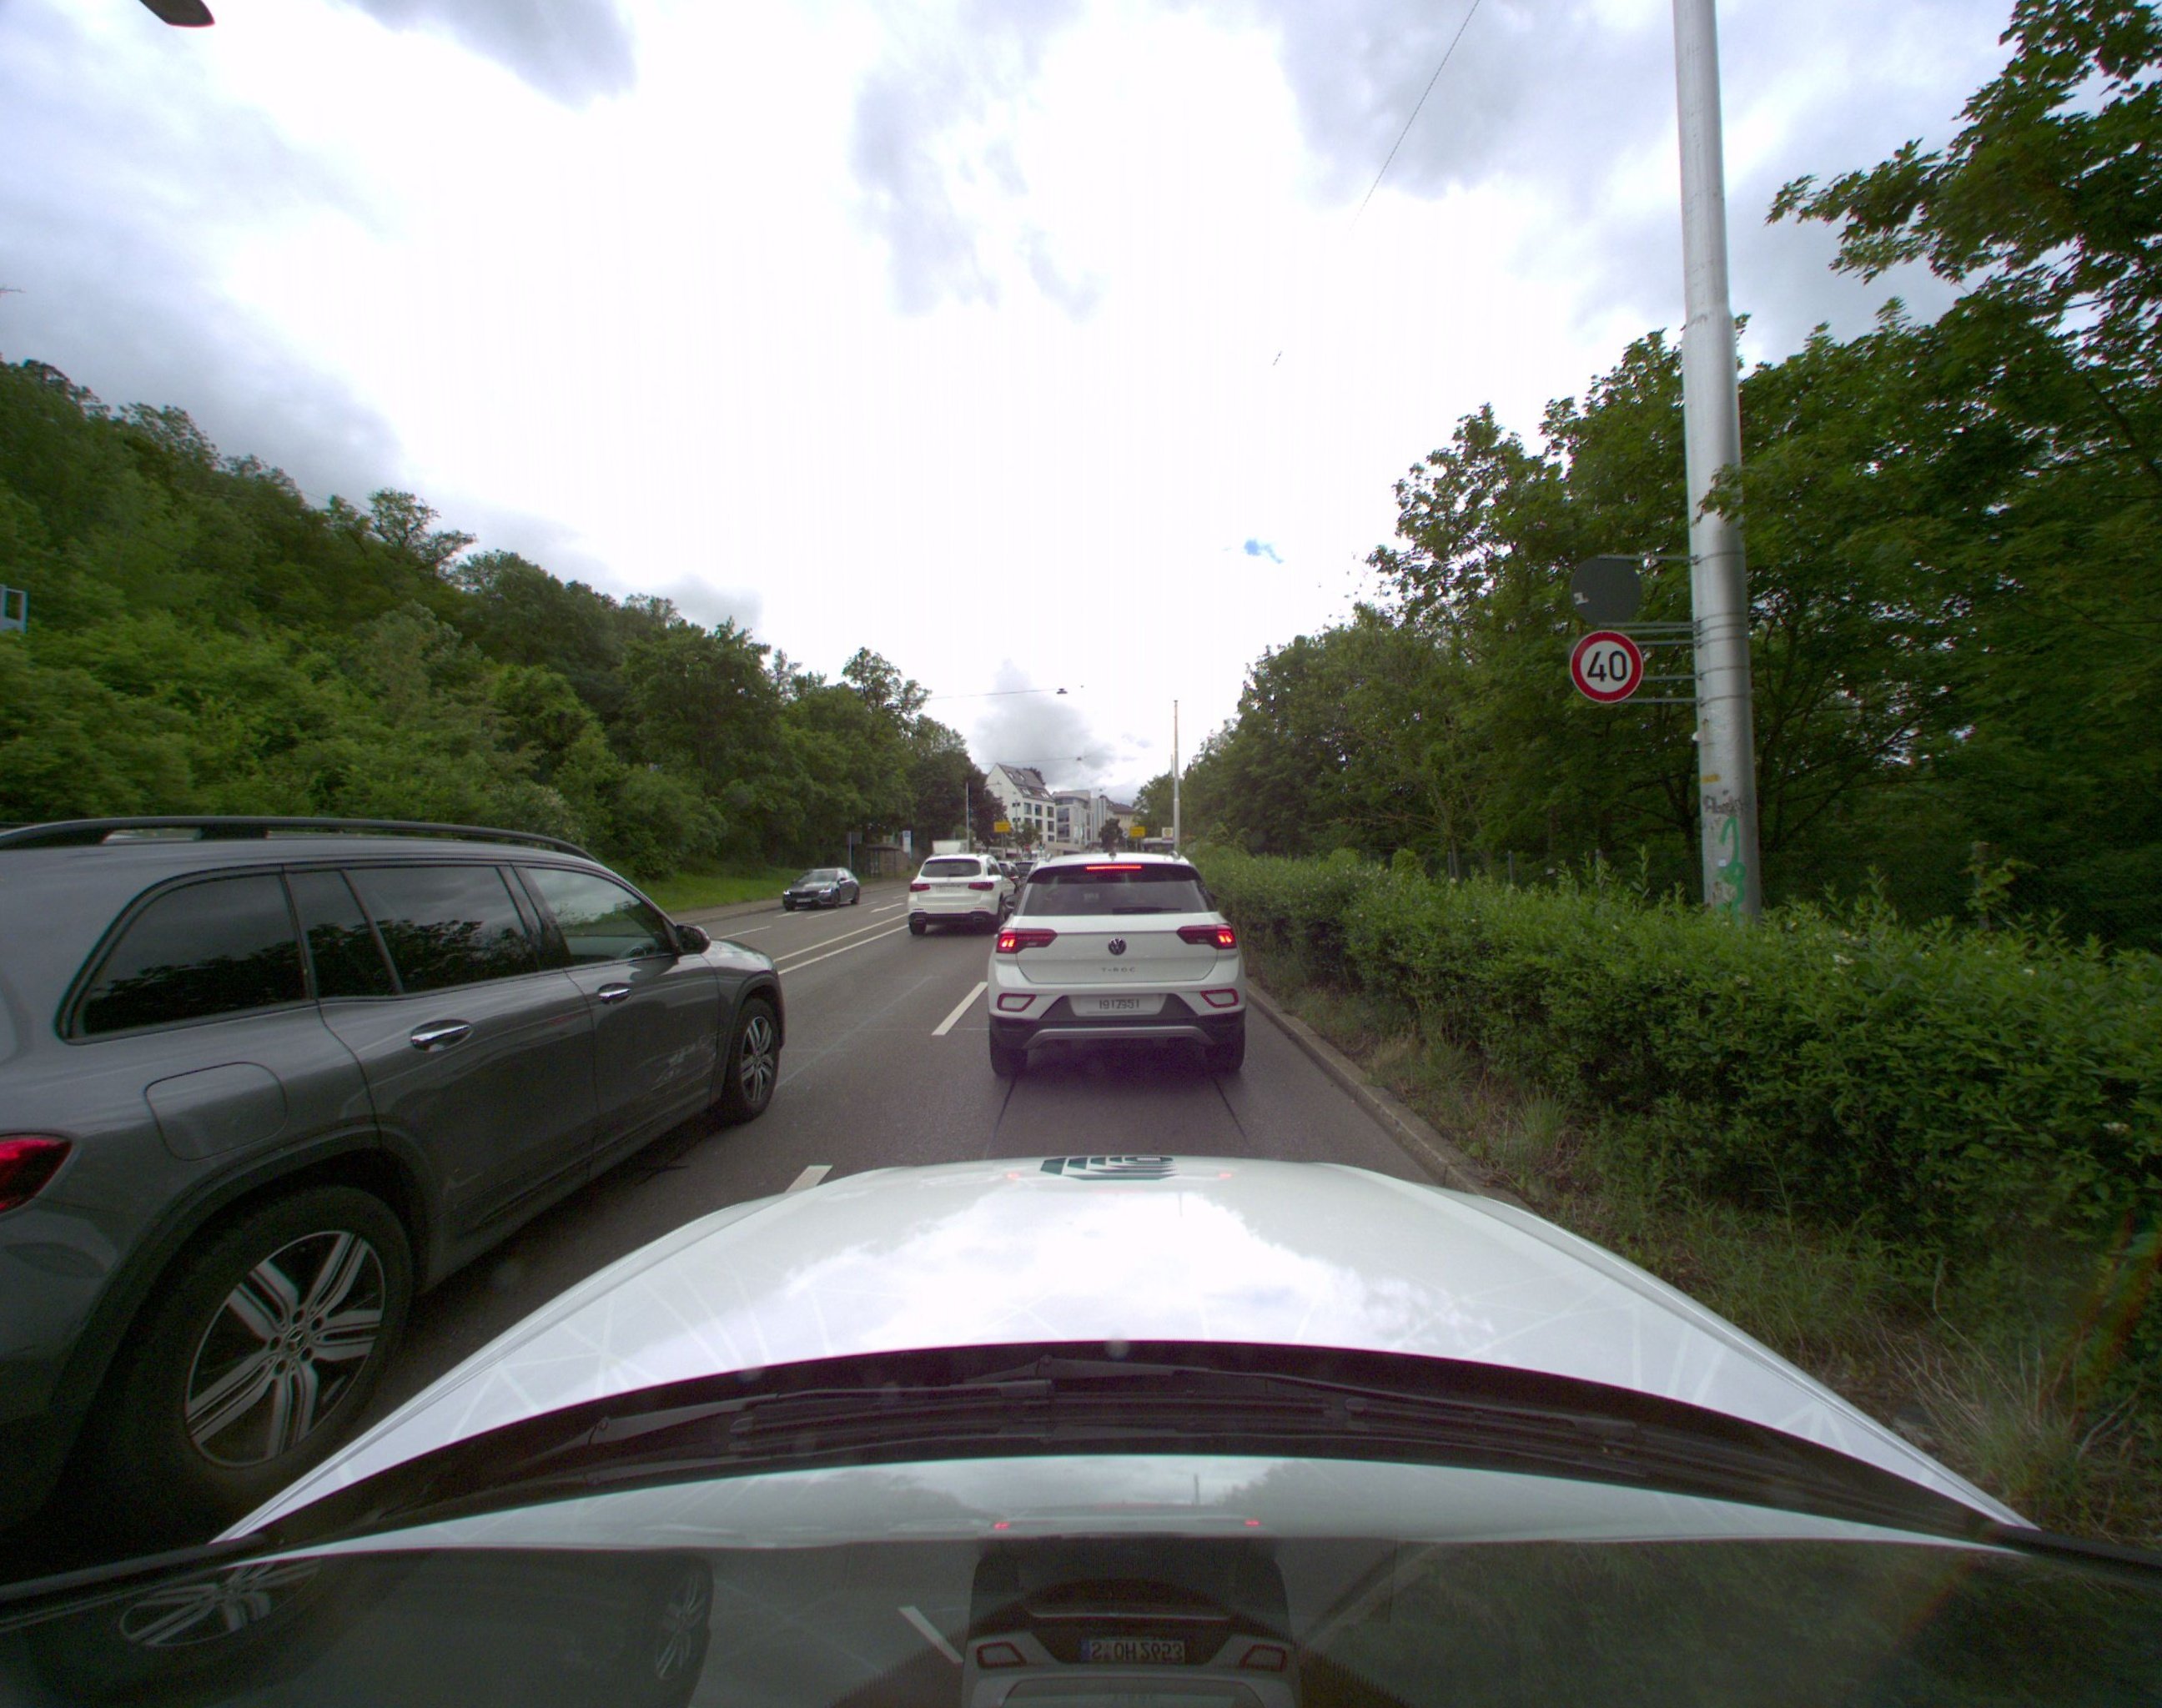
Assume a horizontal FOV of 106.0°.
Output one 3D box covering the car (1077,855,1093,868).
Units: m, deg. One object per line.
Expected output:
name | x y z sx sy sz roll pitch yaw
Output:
car | 0.488 0.883 99.164 1.823 1.526 4.001 -2 0 1

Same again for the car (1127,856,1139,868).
car | 9.691 1.466 151.297 1.986 2.014 4.002 -3 -2 2

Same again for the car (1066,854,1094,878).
car | -0.035 0.828 56.553 1.823 1.526 4.001 -2 0 1

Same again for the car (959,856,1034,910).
car | -2.570 0.856 25.595 1.823 1.497 4.001 -2 0 1

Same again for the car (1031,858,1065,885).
car | -1.974 1.049 50.414 1.823 1.526 4.001 -2 0 1

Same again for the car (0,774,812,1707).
car | -2.753 0.713 3.269 1.843 1.651 4.357 -1 0 0

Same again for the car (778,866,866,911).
car | -9.285 1.199 29.568 1.673 1.395 4.361 -3 0 1

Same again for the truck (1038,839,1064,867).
truck | -3.161 -0.071 85.589 2.354 2.782 4.478 -3 0 1

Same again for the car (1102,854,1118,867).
car | 3.479 0.792 98.048 1.823 1.526 4.001 -2 0 1

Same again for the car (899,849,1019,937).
car | -2.508 0.751 17.701 1.911 1.669 4.001 -1 0 1

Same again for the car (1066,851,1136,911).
car | 0.583 0.733 23.943 1.823 1.526 4.001 -2 0 1

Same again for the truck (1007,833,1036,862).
truck | -5.909 -0.620 81.129 2.354 2.706 4.478 -3 0 1

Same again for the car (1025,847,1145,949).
car | 0.098 0.692 14.731 1.823 1.526 4.001 -2 0 1

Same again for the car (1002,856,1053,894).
car | -2.285 0.868 35.431 1.823 1.526 4.001 -2 0 1

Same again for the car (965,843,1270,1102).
car | 0.257 0.727 6.967 1.823 1.526 4.001 -2 0 1

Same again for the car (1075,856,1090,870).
car | 0.213 1.198 109.356 1.809 1.656 3.929 -3 0 1

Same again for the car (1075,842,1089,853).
car | 0.164 -0.949 116.849 1.823 1.526 4.001 -2 0 1

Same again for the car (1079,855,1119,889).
car | 0.891 0.832 40.191 1.823 1.526 4.001 -2 0 1

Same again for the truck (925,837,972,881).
truck | -9.903 0.408 61.542 2.286 3.051 6.977 -2 -1 0

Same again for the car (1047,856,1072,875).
car | -1.774 0.928 67.971 1.823 1.526 4.001 -2 0 1
